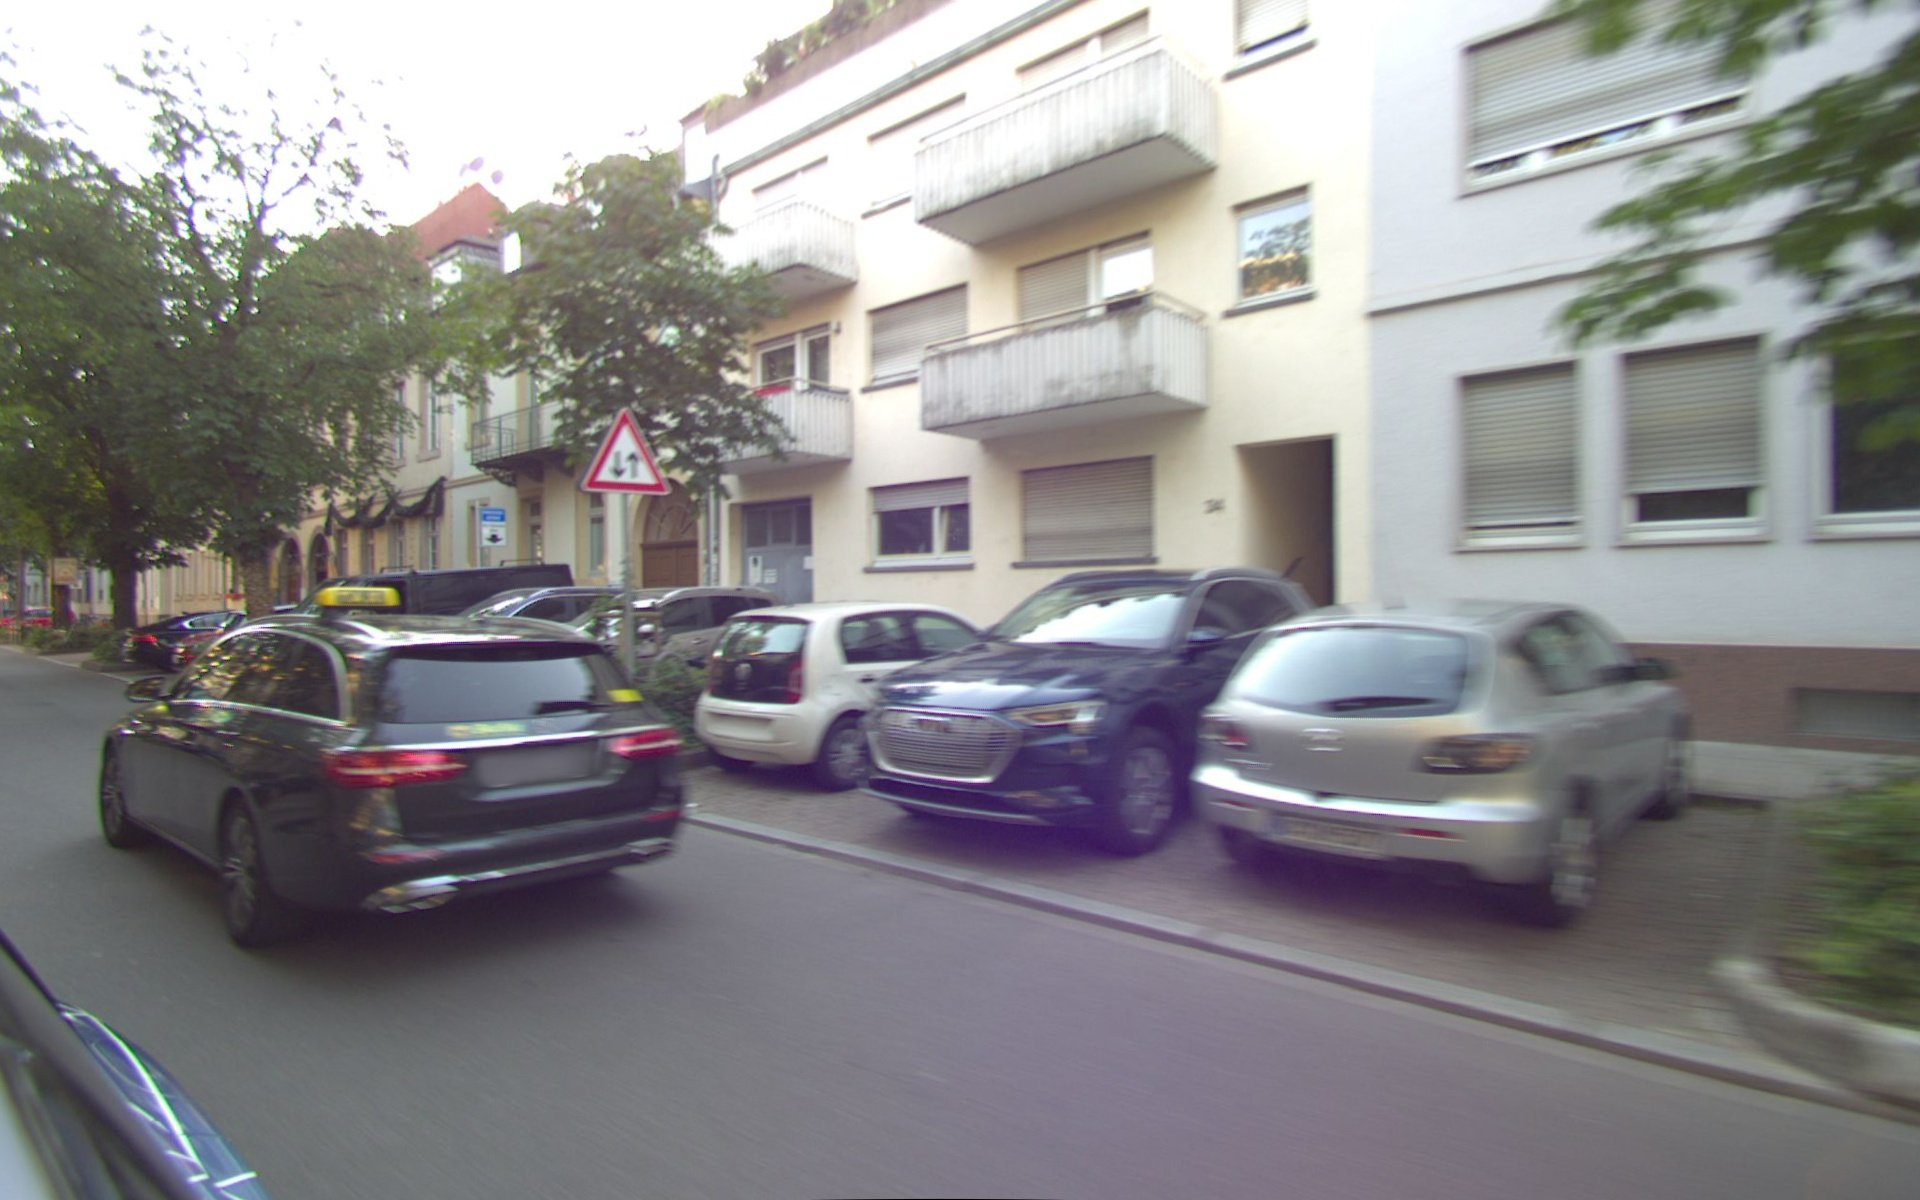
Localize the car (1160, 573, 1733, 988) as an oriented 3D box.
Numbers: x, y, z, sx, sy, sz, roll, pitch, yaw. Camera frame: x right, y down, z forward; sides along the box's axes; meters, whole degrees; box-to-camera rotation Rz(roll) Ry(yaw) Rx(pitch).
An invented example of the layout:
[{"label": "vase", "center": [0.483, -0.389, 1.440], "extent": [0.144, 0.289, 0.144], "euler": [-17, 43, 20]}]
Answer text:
[{"label": "car", "center": [3.051, 0.657, 5.882], "extent": [1.781, 1.505, 3.983], "euler": [-1, 2, 45]}]

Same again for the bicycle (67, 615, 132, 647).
[{"label": "bicycle", "center": [-33.106, 1.177, 38.955], "extent": [0.479, 1.107, 1.847], "euler": [0, 1, 35]}]

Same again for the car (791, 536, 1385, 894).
[{"label": "car", "center": [1.254, 0.532, 7.487], "extent": [2.155, 1.778, 4.617], "euler": [-1, 1, 41]}]

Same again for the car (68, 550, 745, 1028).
[{"label": "car", "center": [-3.405, 0.685, 5.744], "extent": [4.643, 1.653, 1.857], "euler": [-1, -1, 41]}]

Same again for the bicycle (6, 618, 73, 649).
[{"label": "bicycle", "center": [-35.892, 1.291, 39.469], "extent": [0.479, 1.106, 1.847], "euler": [-1, 1, 35]}]

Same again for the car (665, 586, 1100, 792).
[{"label": "car", "center": [-0.550, 0.653, 9.424], "extent": [1.854, 1.462, 3.805], "euler": [-2, 0, 41]}]

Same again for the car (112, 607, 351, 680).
[{"label": "car", "center": [-17.504, 0.966, 24.505], "extent": [1.716, 1.417, 4.383], "euler": [1, 2, 38]}]

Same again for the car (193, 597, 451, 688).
[{"label": "car", "center": [-13.476, 0.813, 21.590], "extent": [1.771, 1.550, 4.309], "euler": [1, 3, 41]}]

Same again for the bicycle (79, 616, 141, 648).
[{"label": "bicycle", "center": [-31.964, 1.181, 38.077], "extent": [0.479, 1.107, 1.692], "euler": [0, 1, 35]}]

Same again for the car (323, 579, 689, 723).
[{"label": "car", "center": [-6.282, 0.582, 14.409], "extent": [1.930, 1.584, 4.309], "euler": [-1, 2, 41]}]

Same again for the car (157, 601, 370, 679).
[{"label": "car", "center": [-15.666, 0.845, 22.894], "extent": [1.659, 1.460, 3.646], "euler": [-1, 2, 41]}]

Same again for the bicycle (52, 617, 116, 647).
[{"label": "bicycle", "center": [-34.682, 1.247, 40.089], "extent": [0.479, 1.107, 1.847], "euler": [0, 1, 35]}]

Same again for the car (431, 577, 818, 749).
[{"label": "car", "center": [-3.939, 0.615, 12.428], "extent": [1.823, 1.603, 4.111], "euler": [-1, 2, 41]}]

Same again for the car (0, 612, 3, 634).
[{"label": "car", "center": [-66.863, 1.653, 68.007], "extent": [1.590, 1.430, 3.506], "euler": [-1, 2, 42]}]

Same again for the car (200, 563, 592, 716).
[{"label": "car", "center": [-8.617, 0.529, 15.851], "extent": [2.188, 2.006, 4.938], "euler": [-1, -1, 41]}]

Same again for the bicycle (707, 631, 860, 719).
[{"label": "bicycle", "center": [-2.044, 0.825, 11.569], "extent": [1.813, 0.880, 0.739], "euler": [-1, 1, 41]}]

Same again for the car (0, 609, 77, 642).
[{"label": "car", "center": [-46.332, 1.270, 50.246], "extent": [1.671, 1.416, 3.454], "euler": [-1, 2, 39]}]

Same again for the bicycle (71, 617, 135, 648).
[{"label": "bicycle", "center": [-33.502, 1.242, 39.579], "extent": [0.508, 1.107, 1.847], "euler": [0, 1, 35]}]
